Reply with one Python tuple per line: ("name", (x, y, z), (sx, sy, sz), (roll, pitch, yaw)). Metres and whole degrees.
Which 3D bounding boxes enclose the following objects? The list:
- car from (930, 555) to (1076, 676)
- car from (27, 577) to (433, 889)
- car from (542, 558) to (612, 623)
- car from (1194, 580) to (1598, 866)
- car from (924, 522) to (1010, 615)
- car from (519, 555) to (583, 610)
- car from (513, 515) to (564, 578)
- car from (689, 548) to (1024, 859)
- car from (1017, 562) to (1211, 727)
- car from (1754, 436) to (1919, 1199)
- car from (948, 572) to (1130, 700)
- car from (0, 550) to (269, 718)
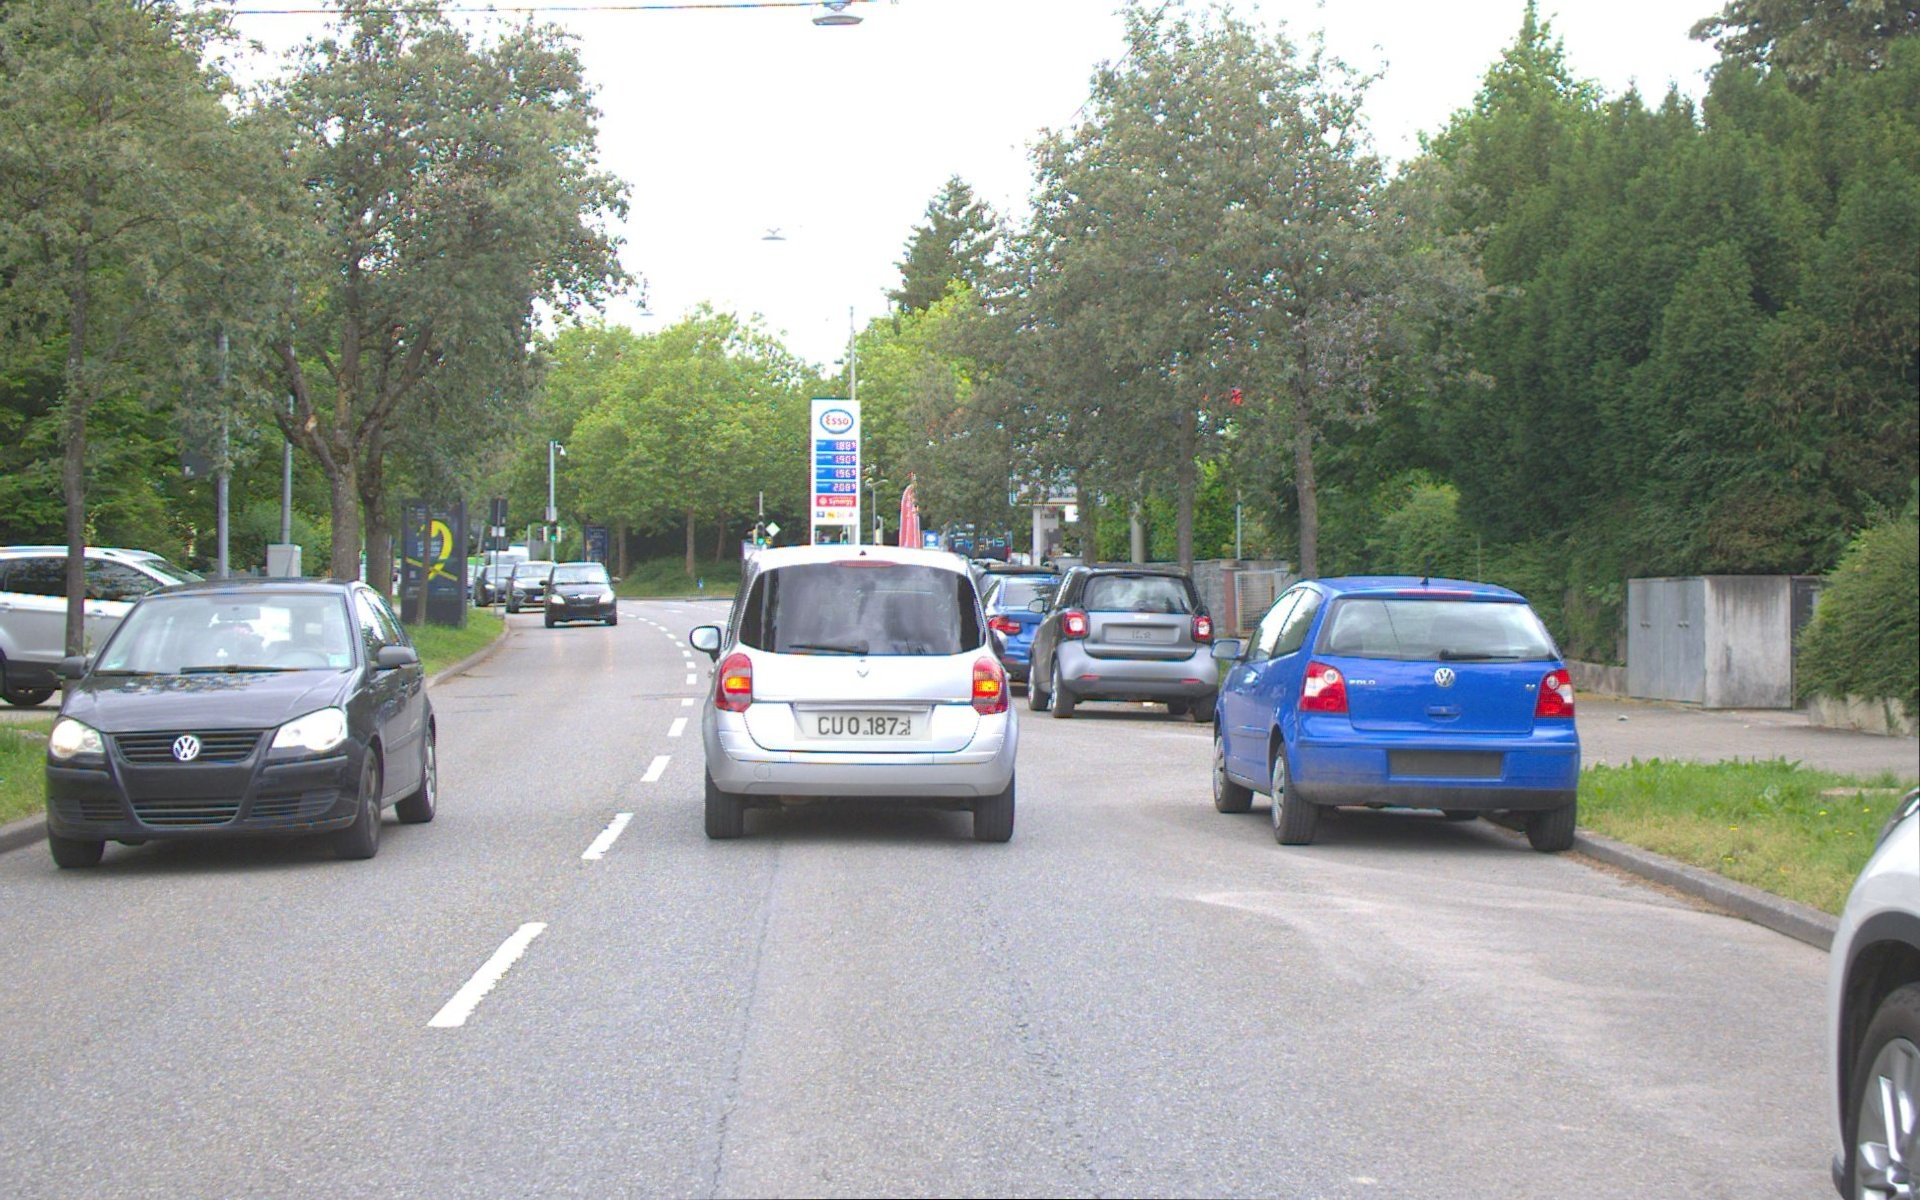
("car", (0.544, 0.175, 46.455), (1.695, 1.565, 3.956), (0, 1, -3))
("car", (-3.819, 0.633, 18.486), (1.574, 1.467, 3.471), (-1, 1, -3))
("car", (-8.923, -0.213, 80.273), (1.544, 1.465, 3.742), (-1, 0, -5))
("car", (2.420, 0.636, 19.956), (1.626, 1.447, 3.876), (2, 0, -3))
("car", (0.199, -1.036, 112.176), (2.281, 2.901, 5.280), (2, 0, -5))
("car", (-12.184, -0.547, 102.605), (1.793, 1.550, 3.673), (-2, 1, -6))
("car", (-16.387, -2.064, 133.839), (1.934, 2.400, 4.001), (0, 1, -7))
("car", (-0.576, 0.516, 19.308), (1.679, 1.554, 3.512), (1, 0, -2))
("car", (1.536, 0.412, 35.517), (1.695, 1.552, 3.956), (1, 1, -1))
("car", (2.654, 0.635, 4.719), (1.799, 1.772, 4.705), (2, 1, -3))
("car", (0.880, 0.387, 40.864), (1.696, 1.428, 4.341), (0, 1, -5))
("car", (-9.472, 0.329, 35.948), (4.087, 1.700, 1.747), (0, 1, 4))
